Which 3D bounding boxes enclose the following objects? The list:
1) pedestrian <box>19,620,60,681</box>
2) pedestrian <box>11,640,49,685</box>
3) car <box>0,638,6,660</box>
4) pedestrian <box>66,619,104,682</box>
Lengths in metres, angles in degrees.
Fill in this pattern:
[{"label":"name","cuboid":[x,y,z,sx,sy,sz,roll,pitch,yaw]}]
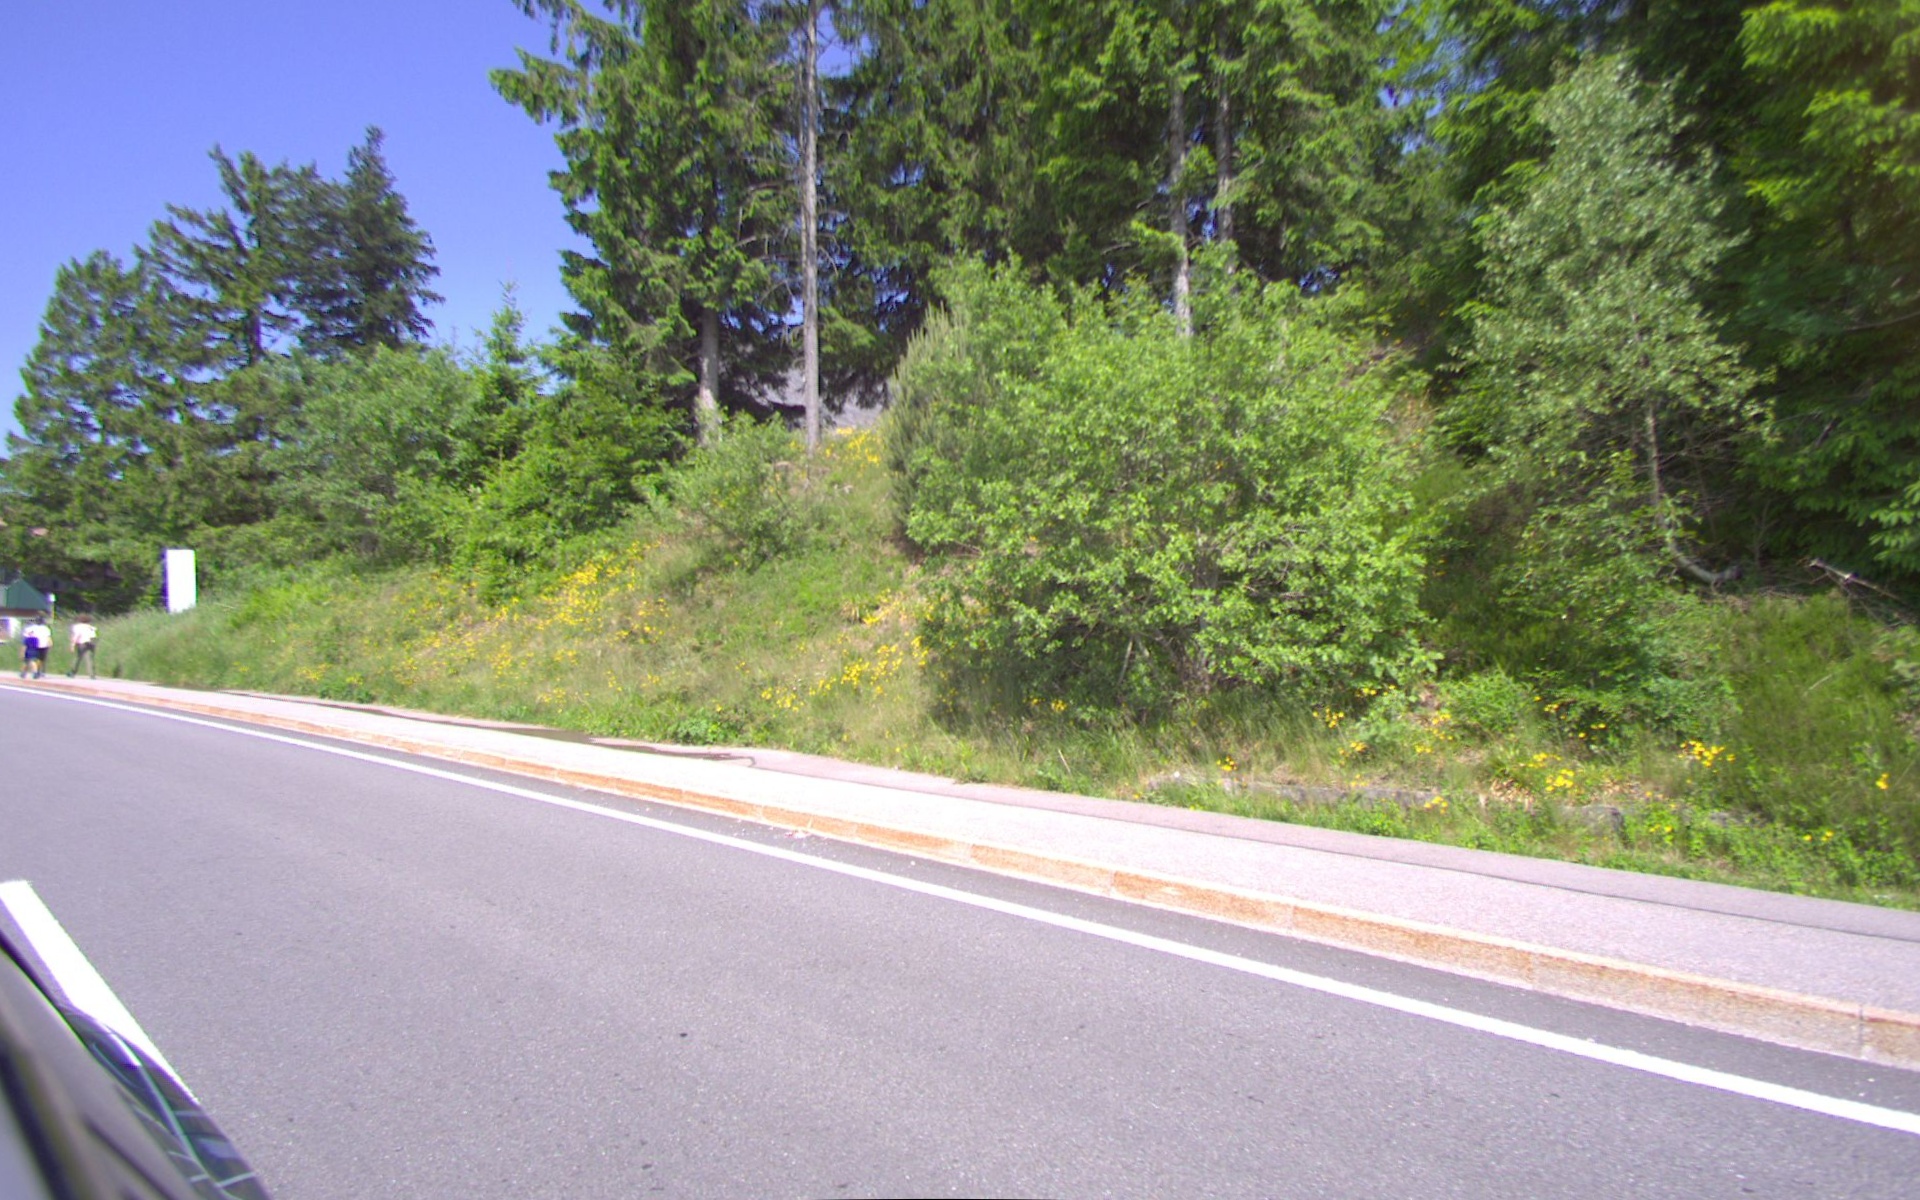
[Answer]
[{"label":"pedestrian","cuboid":[-23.826,1.312,26.190,0.878,1.549,0.575,-2,-3,35]},{"label":"pedestrian","cuboid":[-23.087,1.544,25.118,0.744,1.110,0.563,-2,-3,38]},{"label":"car","cuboid":[-63.706,3.185,65.454,1.689,1.445,3.326,1,-3,-21]},{"label":"pedestrian","cuboid":[-23.342,1.350,26.995,0.893,1.655,0.570,-2,-3,39]}]
